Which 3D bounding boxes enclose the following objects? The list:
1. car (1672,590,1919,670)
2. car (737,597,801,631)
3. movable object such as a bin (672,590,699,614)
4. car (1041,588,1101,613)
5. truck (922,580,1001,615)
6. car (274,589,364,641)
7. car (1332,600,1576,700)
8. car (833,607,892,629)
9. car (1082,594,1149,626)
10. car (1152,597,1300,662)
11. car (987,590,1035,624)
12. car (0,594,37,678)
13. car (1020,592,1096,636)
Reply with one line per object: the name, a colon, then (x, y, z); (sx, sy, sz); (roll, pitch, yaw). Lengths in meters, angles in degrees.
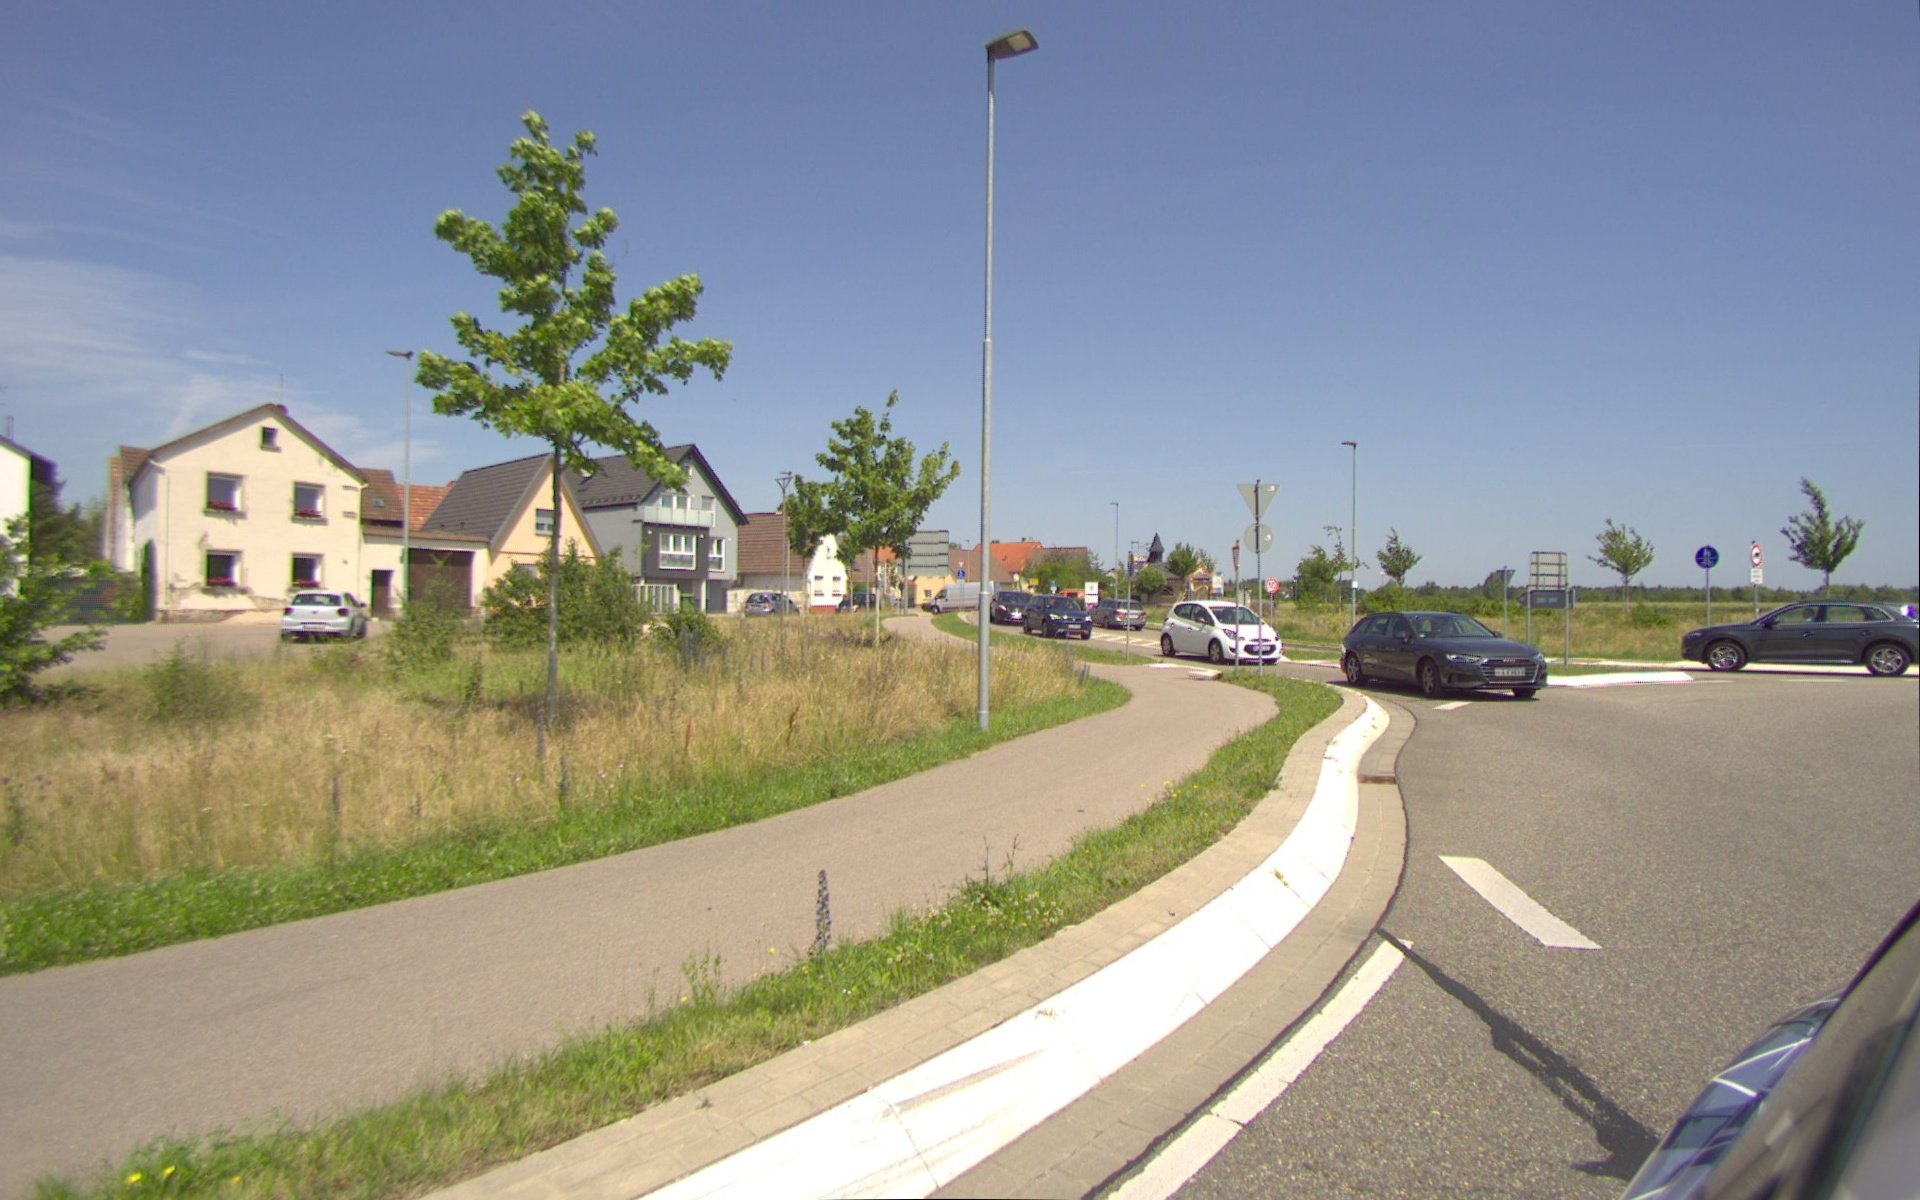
car: (19.386, 0.672, 23.169); (4.868, 1.670, 1.924); (-1, -2, 41)
car: (-10.926, 0.800, 58.153); (1.832, 1.853, 3.973); (1, 0, 20)
movable object such as a bin: (-16.398, 0.088, 60.447); (1.074, 1.407, 1.193); (1, 0, 24)
car: (11.945, 0.039, 108.868); (6.101, 2.617, 2.325); (1, 0, 37)
truck: (0.132, -0.221, 76.982); (5.566, 2.538, 2.222); (1, 0, 20)
car: (-18.549, 0.398, 29.423); (1.616, 1.410, 4.007); (1, 0, -24)
car: (8.514, 0.769, 17.994); (1.832, 1.452, 4.525); (-2, 1, -4)
car: (-6.426, 1.154, 67.028); (1.844, 1.368, 3.716); (1, 0, 38)
car: (7.663, 0.523, 50.450); (1.799, 1.510, 4.875); (0, -1, -11)
car: (7.044, 0.709, 27.356); (1.830, 1.581, 4.530); (0, 0, -15)
car: (2.448, 0.310, 49.616); (1.833, 1.581, 4.728); (0, 0, -3)
car: (-16.567, 0.564, 14.980); (1.724, 1.328, 3.977); (1, 0, 18)
car: (3.719, 0.506, 39.167); (1.686, 1.581, 4.159); (0, 0, -13)
